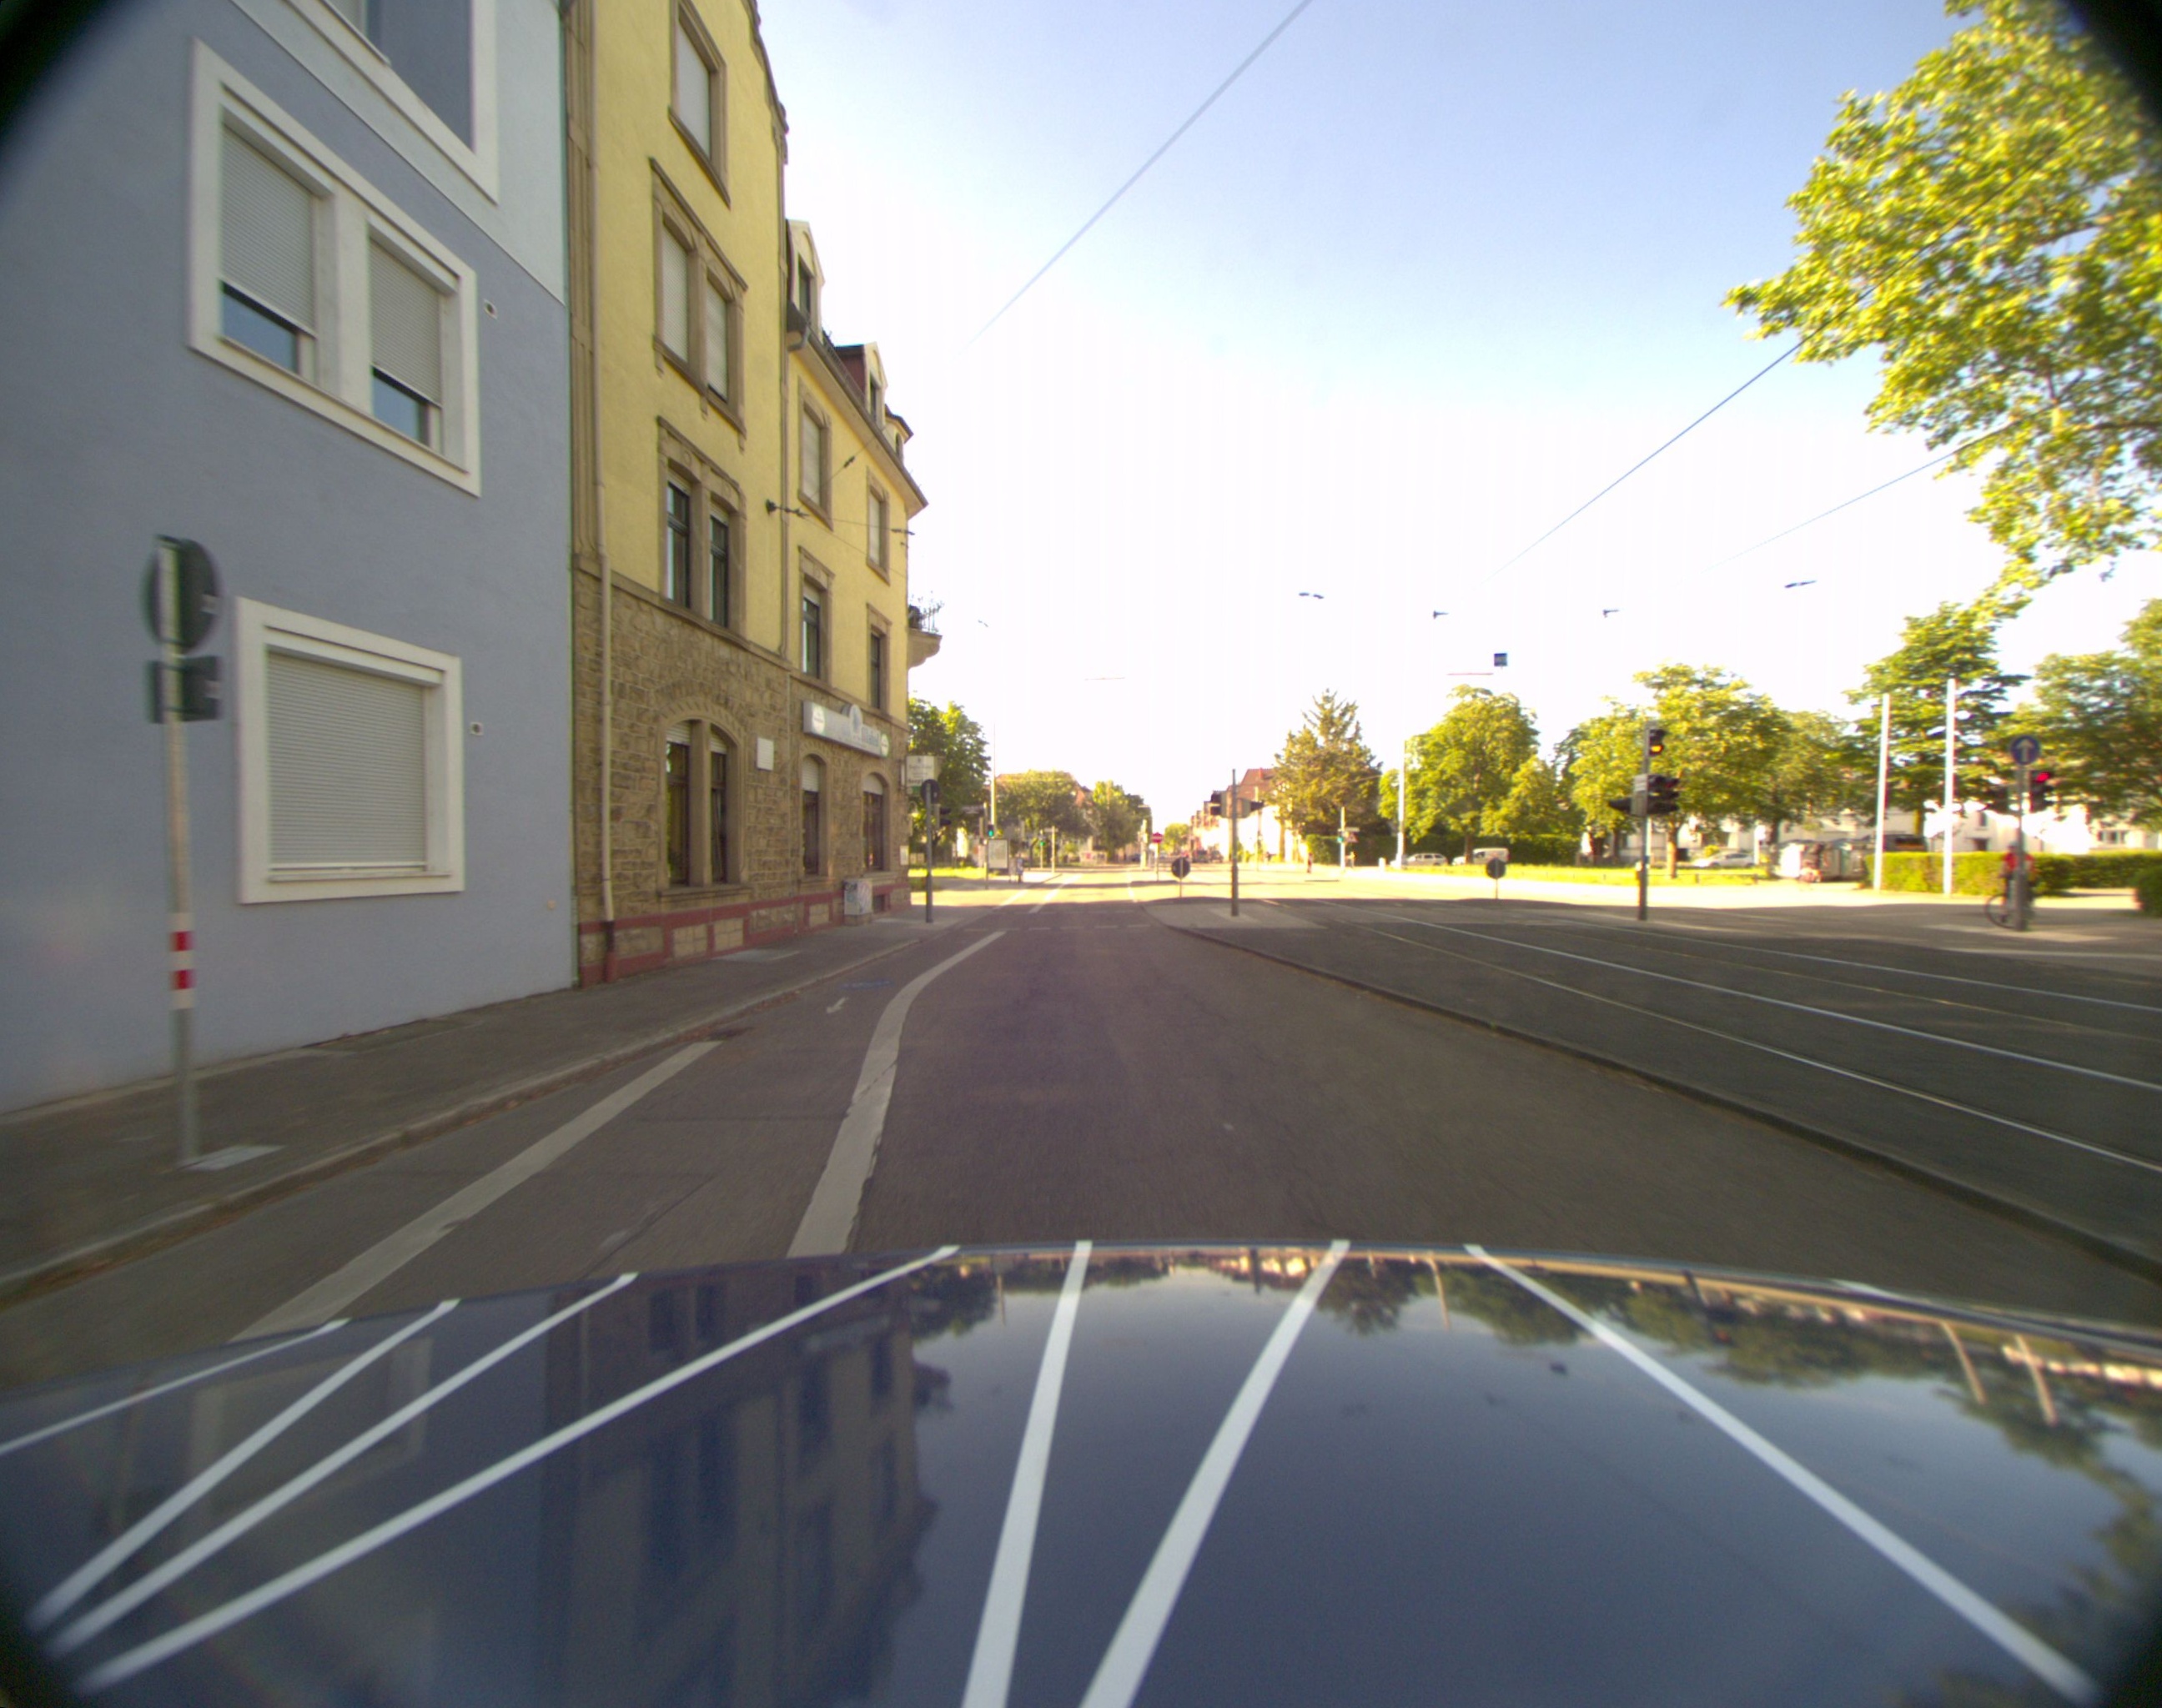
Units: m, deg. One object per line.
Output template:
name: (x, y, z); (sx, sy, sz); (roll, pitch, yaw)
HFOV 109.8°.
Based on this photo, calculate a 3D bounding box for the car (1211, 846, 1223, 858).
car: (22.826, -0.282, 127.622); (1.923, 1.890, 4.003); (-2, 0, 9)

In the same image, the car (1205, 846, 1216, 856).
car: (24.220, -0.575, 142.146); (1.923, 1.705, 4.002); (-2, 0, 7)

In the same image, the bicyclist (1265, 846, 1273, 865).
bicyclist: (17.466, 0.120, 70.687); (0.588, 1.701, 0.901); (1, 1, 3)

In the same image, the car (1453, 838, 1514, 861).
car: (35.307, -0.407, 66.727); (4.309, 1.856, 1.817); (-1, 1, 8)

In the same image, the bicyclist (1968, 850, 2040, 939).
bicyclist: (18.320, 0.780, 15.095); (0.605, 1.682, 0.934); (-2, 0, 31)

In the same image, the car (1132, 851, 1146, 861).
car: (9.679, 0.359, 126.132); (1.704, 1.541, 4.003); (-2, 0, 11)

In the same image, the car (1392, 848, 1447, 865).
car: (28.933, 0.180, 65.017); (3.993, 1.425, 1.818); (0, 0, 12)

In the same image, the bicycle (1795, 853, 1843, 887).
bicycle: (24.382, 0.525, 25.124); (0.645, 1.036, 1.929); (-2, 0, 30)

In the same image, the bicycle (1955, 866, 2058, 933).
bicycle: (18.314, 0.870, 15.091); (0.632, 1.123, 2.039); (-3, 1, 31)

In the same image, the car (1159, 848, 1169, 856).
car: (18.601, -0.431, 170.365); (1.923, 1.705, 4.003); (-2, 0, 9)

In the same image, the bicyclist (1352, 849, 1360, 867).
bicyclist: (24.043, 0.341, 66.321); (0.559, 1.613, 0.899); (0, 1, 14)

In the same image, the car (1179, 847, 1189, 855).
car: (24.142, -0.702, 177.914); (1.922, 1.705, 4.003); (-2, 0, 10)

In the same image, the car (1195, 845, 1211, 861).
car: (16.355, -0.070, 102.021); (2.023, 2.001, 5.255); (1, -1, 9)

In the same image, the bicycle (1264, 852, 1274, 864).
bicycle: (17.476, 0.406, 70.800); (0.588, 1.107, 1.827); (1, 0, 4)

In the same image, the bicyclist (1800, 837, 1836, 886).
bicyclist: (24.386, 0.238, 25.167); (0.645, 1.602, 0.782); (-2, 0, 29)

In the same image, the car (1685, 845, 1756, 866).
car: (53.824, 0.160, 64.008); (4.195, 1.732, 1.818); (0, 0, 8)

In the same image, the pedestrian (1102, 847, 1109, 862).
pedestrian: (2.859, 0.054, 88.654); (0.654, 1.664, 0.944); (1, 1, 8)

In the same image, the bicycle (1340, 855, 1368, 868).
bicycle: (23.777, 0.651, 66.214); (2.283, 1.111, 0.931); (0, 1, 14)

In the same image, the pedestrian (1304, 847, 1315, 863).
pedestrian: (21.334, 0.097, 70.973); (0.680, 1.548, 0.622); (-3, 1, -42)

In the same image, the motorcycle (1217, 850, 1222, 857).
motorcycle: (20.596, -0.038, 112.644); (0.605, 1.040, 2.438); (-2, 0, 8)
